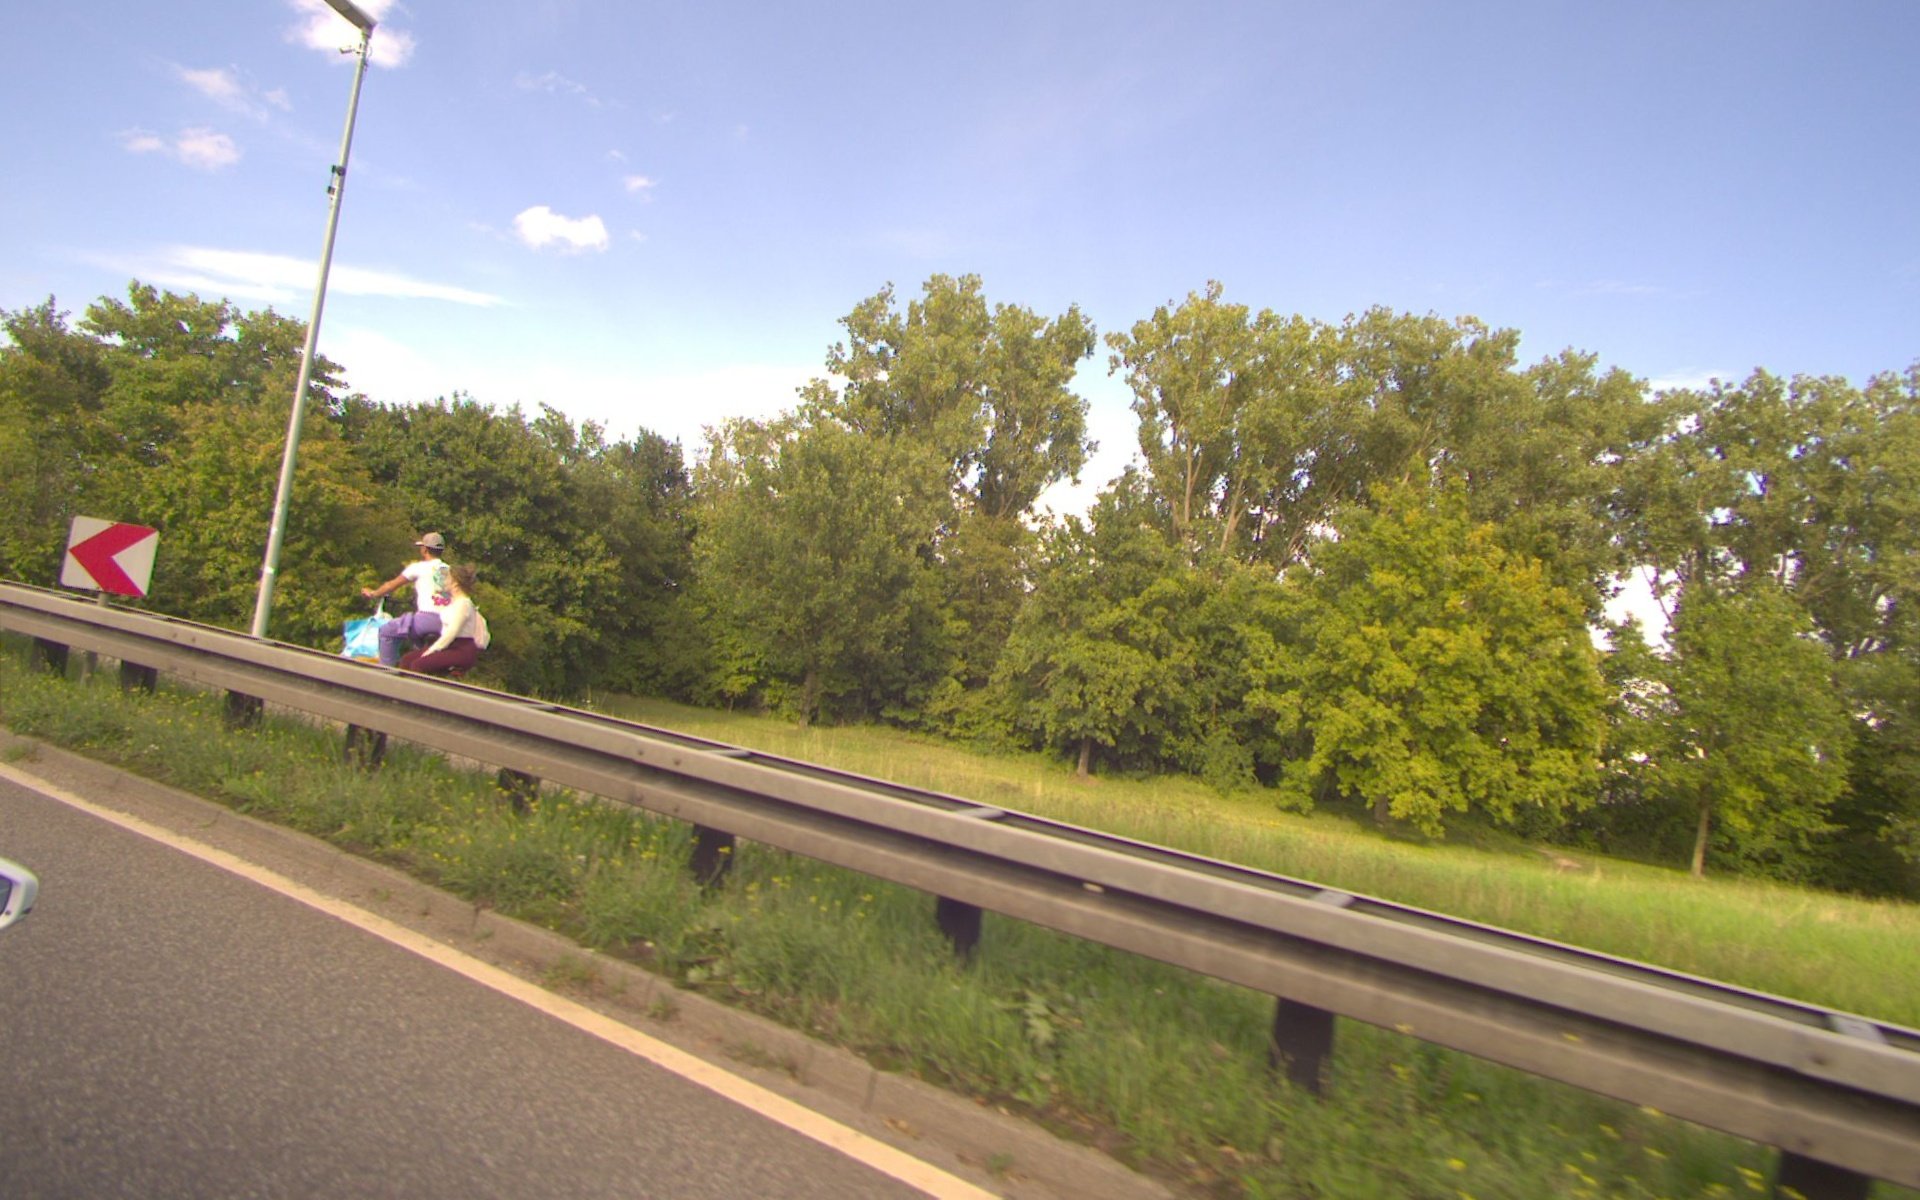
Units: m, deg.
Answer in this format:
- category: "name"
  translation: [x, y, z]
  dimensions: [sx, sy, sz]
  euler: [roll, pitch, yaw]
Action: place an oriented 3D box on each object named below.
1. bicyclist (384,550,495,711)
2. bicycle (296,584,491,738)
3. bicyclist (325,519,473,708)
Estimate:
- category: "bicyclist"
  translation: [-4.524, 0.273, 8.752]
  dimensions: [0.529, 1.316, 0.501]
  euler: [7, -1, 27]
- category: "bicycle"
  translation: [-5.096, 0.530, 9.027]
  dimensions: [1.667, 1.133, 0.597]
  euler: [7, -1, 27]
- category: "bicyclist"
  translation: [-5.025, 0.132, 9.027]
  dimensions: [0.741, 1.575, 0.709]
  euler: [7, -1, 27]
